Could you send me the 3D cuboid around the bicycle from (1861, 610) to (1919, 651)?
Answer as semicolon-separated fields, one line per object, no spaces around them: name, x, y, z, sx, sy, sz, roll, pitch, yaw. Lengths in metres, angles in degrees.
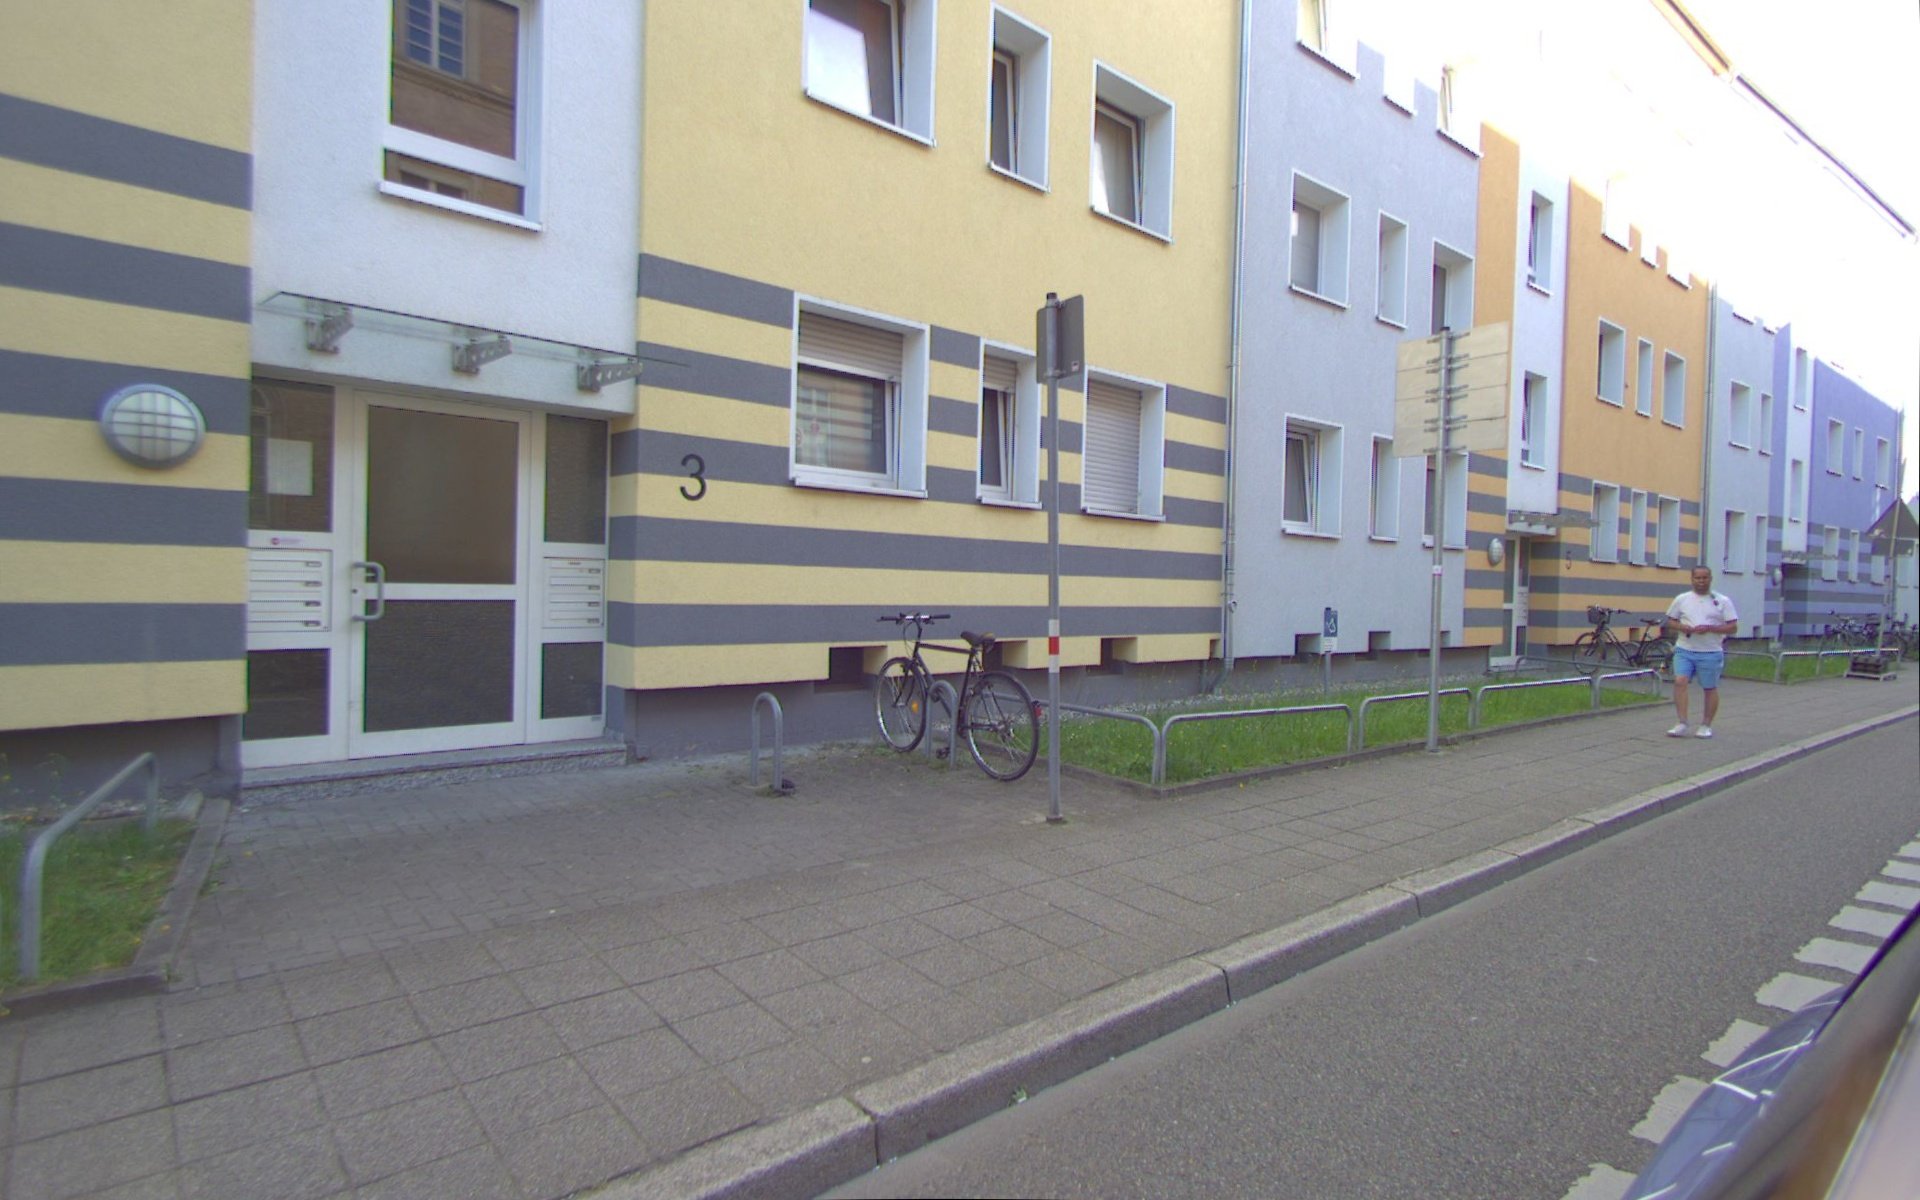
bicycle;24.053;0.785;25.591;0.572;0.950;1.779;1;3;-33

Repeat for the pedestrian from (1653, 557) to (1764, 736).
pedestrian;7.496;0.436;10.138;0.819;1.692;0.644;1;2;-39

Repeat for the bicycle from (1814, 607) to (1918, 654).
bicycle;22.187;0.726;24.813;0.572;1.007;1.779;1;3;-33

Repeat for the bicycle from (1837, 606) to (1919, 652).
bicycle;23.350;0.729;25.483;0.572;1.007;1.779;1;3;-33

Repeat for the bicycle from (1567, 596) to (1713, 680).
bicycle;10.689;0.564;15.954;0.574;1.138;1.775;0;4;-42

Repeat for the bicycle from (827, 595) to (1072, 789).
bicycle;-0.123;0.554;6.931;1.773;1.061;0.574;5;4;45
